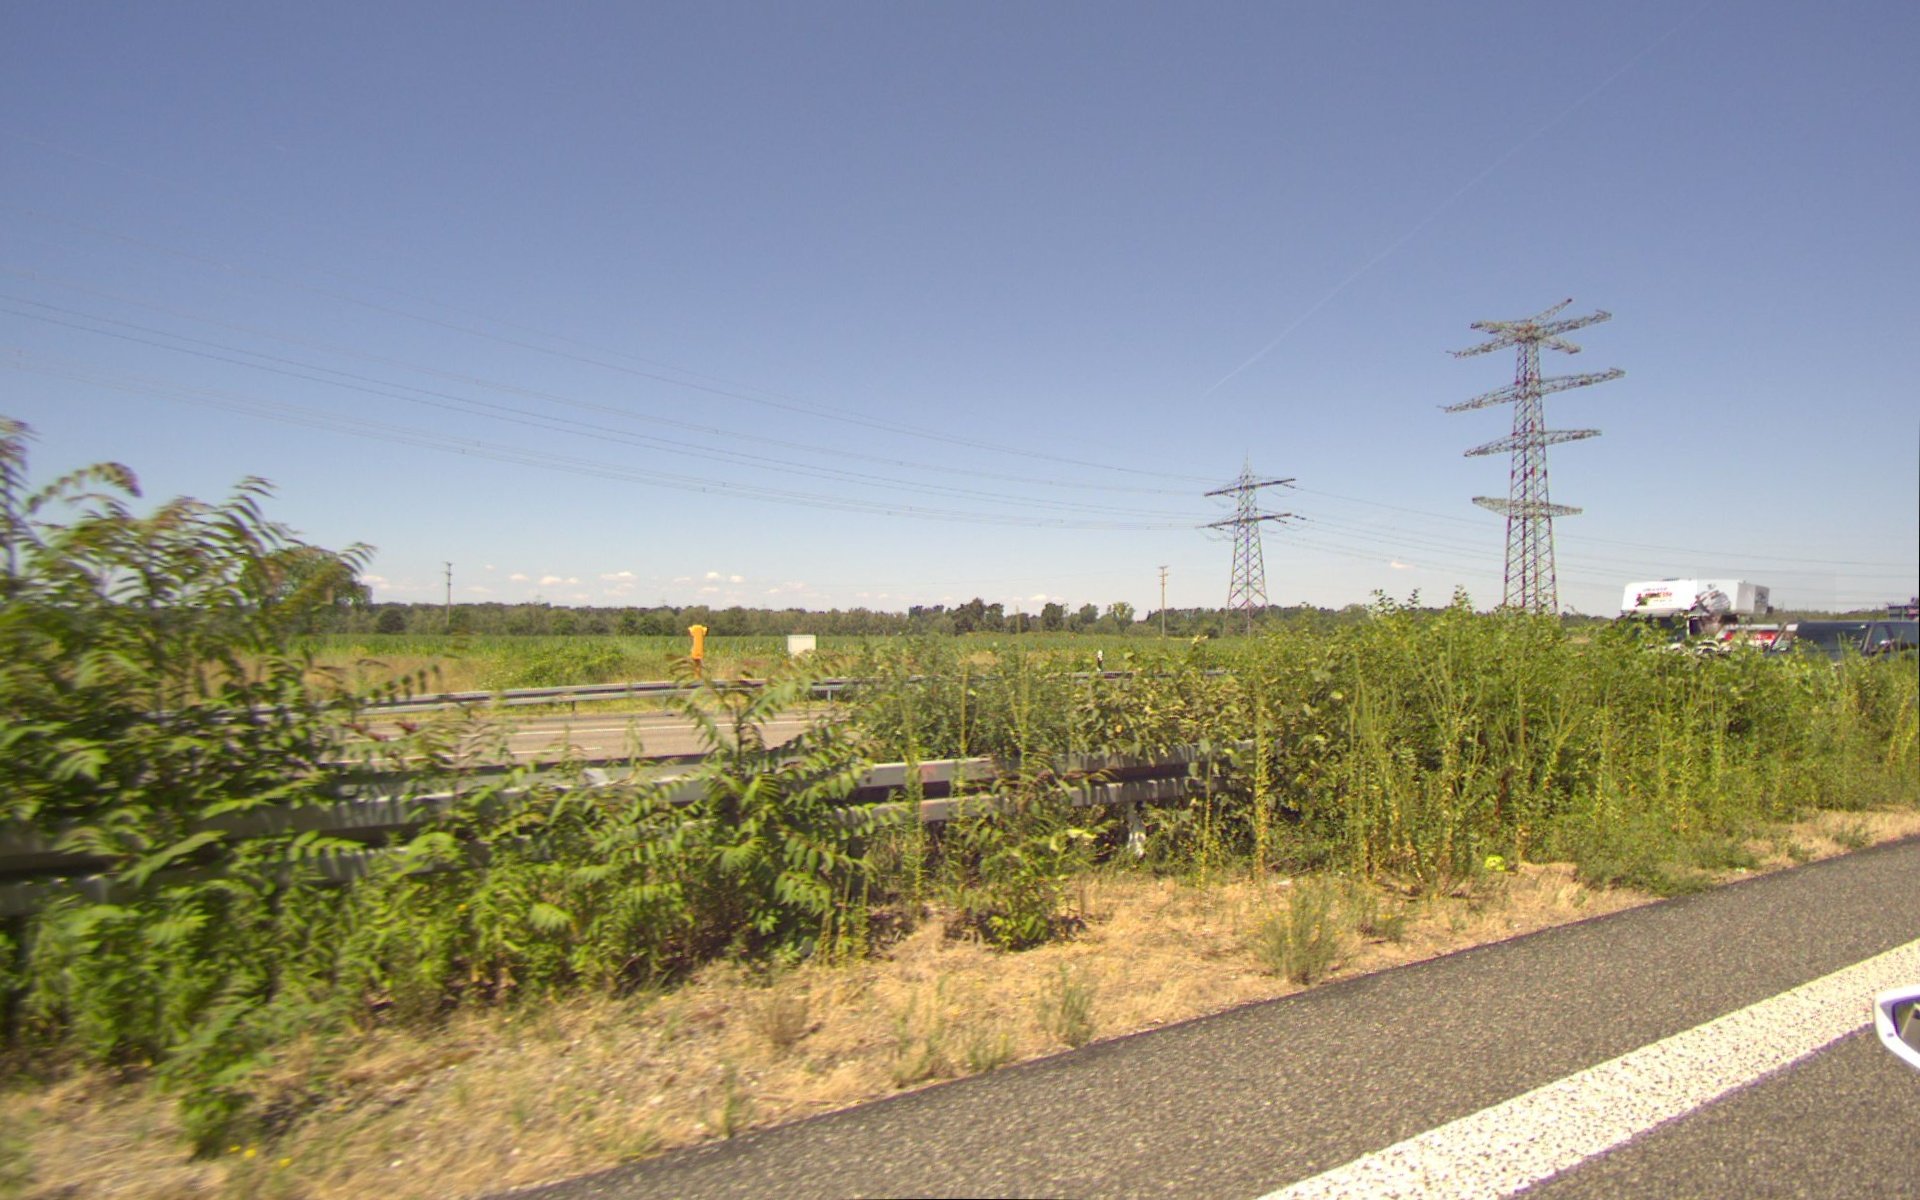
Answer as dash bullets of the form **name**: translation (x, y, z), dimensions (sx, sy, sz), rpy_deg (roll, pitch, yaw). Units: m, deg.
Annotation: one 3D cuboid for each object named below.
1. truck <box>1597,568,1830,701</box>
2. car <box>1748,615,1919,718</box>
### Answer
- **truck**: translation (27.123, 1.234, 35.934), dimensions (10.444, 4.231, 2.860), rpy_deg (1, -2, -30)
- **car**: translation (19.592, 1.386, 22.046), dimensions (5.060, 2.040, 1.983), rpy_deg (1, -2, -32)
